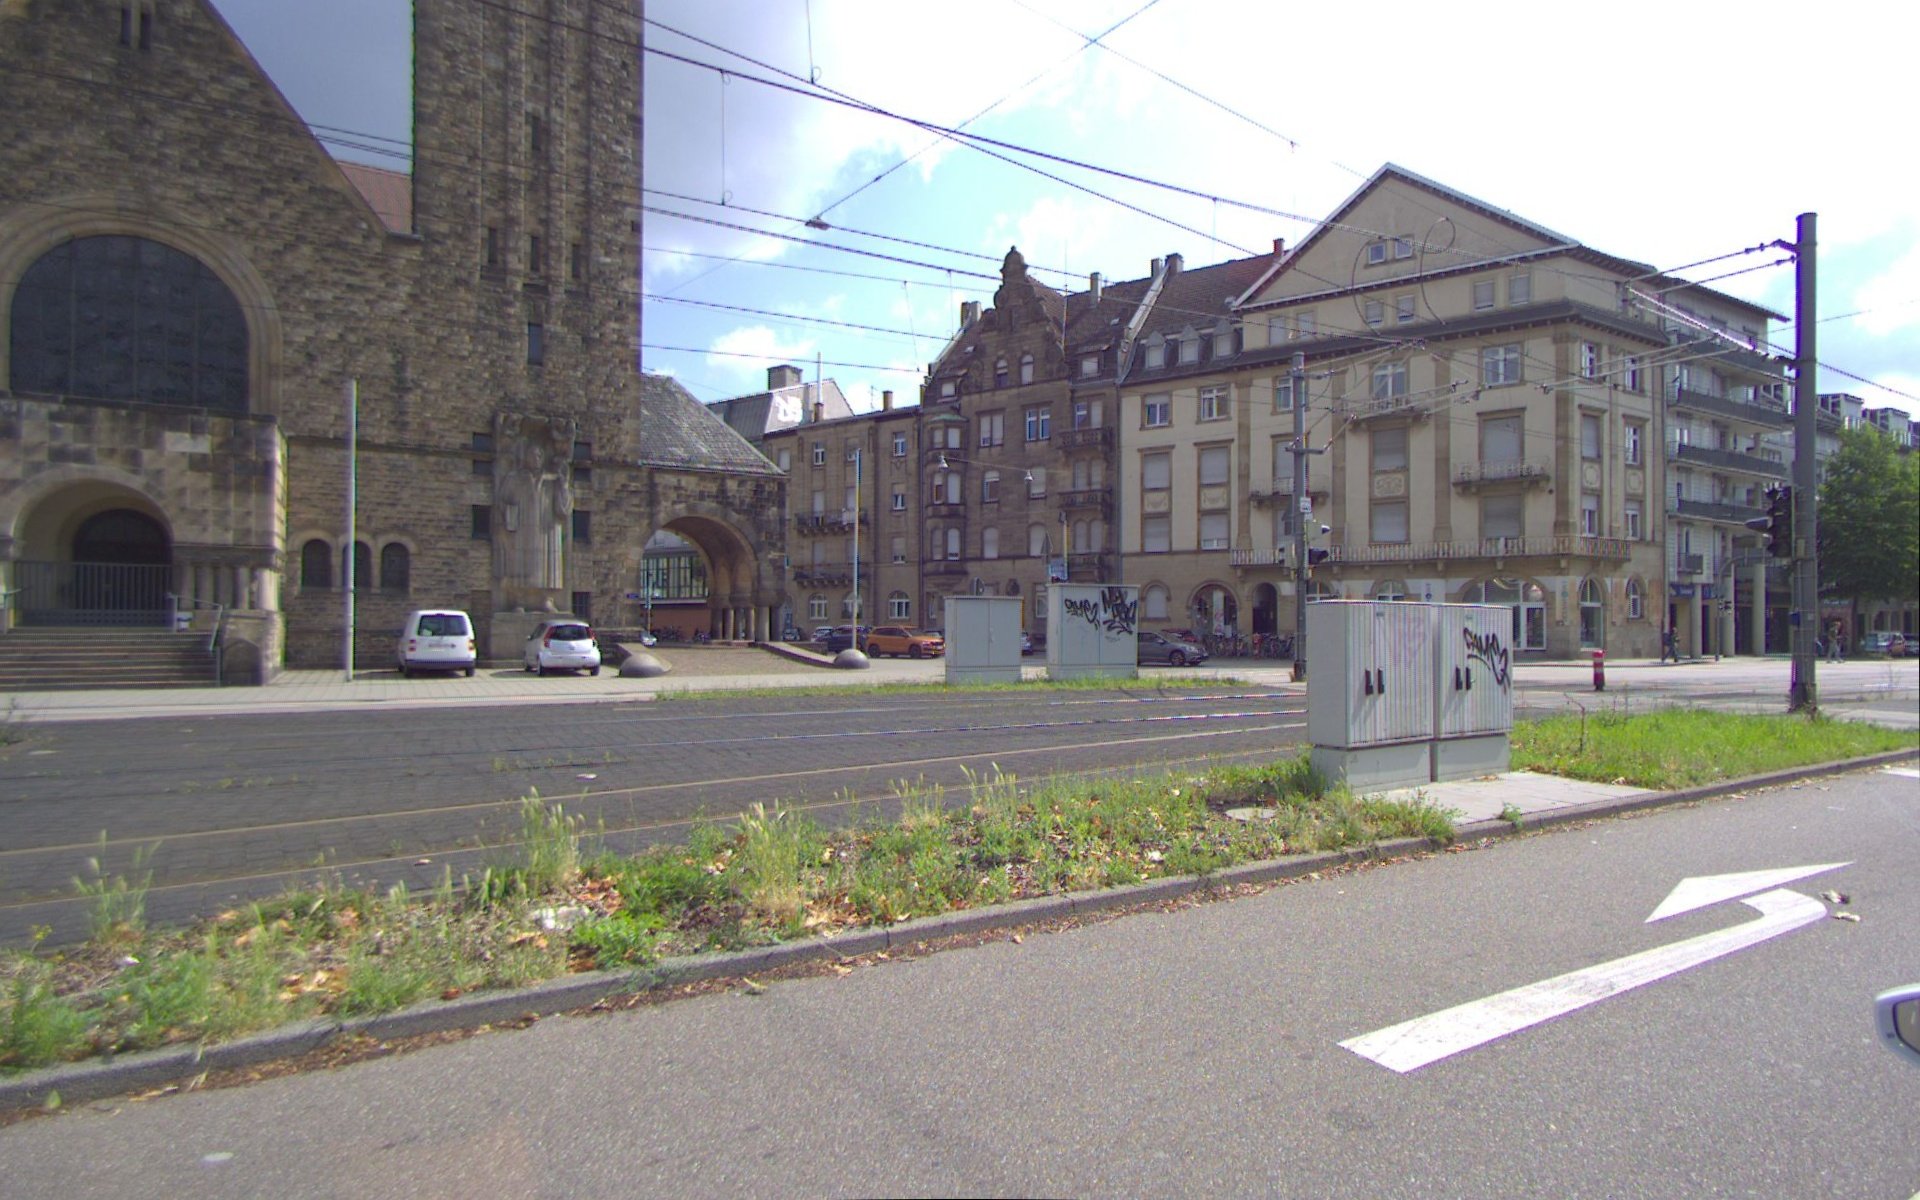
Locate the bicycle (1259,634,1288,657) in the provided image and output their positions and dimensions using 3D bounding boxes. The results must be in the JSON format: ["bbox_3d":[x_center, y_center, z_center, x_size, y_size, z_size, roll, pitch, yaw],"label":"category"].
[{"bbox_3d":[15.620,2.256,50.006,0.792,1.067,2.561,-1,-2,31],"label":"bicycle"}]

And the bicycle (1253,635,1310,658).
[{"bbox_3d":[15.380,2.232,48.115,2.522,1.067,0.680,-1,-2,33],"label":"bicycle"}]

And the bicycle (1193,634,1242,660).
[{"bbox_3d":[12.971,2.355,50.651,0.982,1.270,3.313,0,-2,-13],"label":"bicycle"}]

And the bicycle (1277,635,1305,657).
[{"bbox_3d":[16.336,2.262,49.554,0.792,1.067,2.561,-1,-2,31],"label":"bicycle"}]

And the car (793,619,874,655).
[{"bbox_3d":[-7.547,2.167,59.697,4.727,2.040,1.994,-1,-2,35],"label":"car"}]

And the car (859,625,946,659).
[{"bbox_3d":[-2.847,2.045,49.509,4.258,1.567,1.625,-1,-2,37],"label":"car"}]

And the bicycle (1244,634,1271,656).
[{"bbox_3d":[14.958,2.251,50.477,0.729,1.067,2.561,-1,-2,31],"label":"bicycle"}]

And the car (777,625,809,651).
[{"bbox_3d":[-11.313,2.554,68.224,1.653,1.697,4.000,0,-2,-2],"label":"car"}]

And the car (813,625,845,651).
[{"bbox_3d":[-8.579,2.472,65.928,1.686,1.706,4.000,0,-2,-2],"label":"car"}]

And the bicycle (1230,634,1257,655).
[{"bbox_3d":[14.478,2.253,51.274,0.729,1.067,2.360,-1,-2,31],"label":"bicycle"}]

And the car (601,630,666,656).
[{"bbox_3d":[-19.023,2.503,58.523,3.719,1.449,1.709,-1,-2,34],"label":"car"}]

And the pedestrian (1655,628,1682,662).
[{"bbox_3d":[33.329,2.109,47.255,0.845,1.617,0.694,0,-1,20],"label":"pedestrian"}]

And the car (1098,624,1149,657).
[{"bbox_3d":[8.713,2.151,53.945,1.768,1.661,3.998,0,-2,-5],"label":"car"}]

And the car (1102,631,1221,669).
[{"bbox_3d":[8.251,2.017,41.342,4.498,1.455,1.700,-1,-2,37],"label":"car"}]

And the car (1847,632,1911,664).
[{"bbox_3d":[59.638,3.069,65.171,3.953,2.040,1.984,1,-2,-30],"label":"car"}]

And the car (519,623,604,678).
[{"bbox_3d":[-11.824,1.459,29.692,1.833,1.522,3.249,1,-2,-31],"label":"car"}]

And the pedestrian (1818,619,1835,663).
[{"bbox_3d":[40.704,1.931,47.172,0.415,2.040,0.474,1,-1,-35],"label":"pedestrian"}]

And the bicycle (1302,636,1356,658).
[{"bbox_3d":[17.806,2.263,48.466,2.525,1.067,0.803,0,-1,-18],"label":"bicycle"}]

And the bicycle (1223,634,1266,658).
[{"bbox_3d":[13.685,2.208,48.289,1.939,1.129,0.487,-1,-1,24],"label":"bicycle"}]

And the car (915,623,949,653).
[{"bbox_3d":[-1.674,2.303,61.101,1.960,1.760,4.001,0,-2,1],"label":"car"}]

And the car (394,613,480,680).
[{"bbox_3d":[-14.988,1.277,28.712,1.874,1.771,3.849,1,-2,-32],"label":"car"}]

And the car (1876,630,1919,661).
[{"bbox_3d":[63.656,3.019,67.543,3.953,2.040,1.984,1,-2,-30],"label":"car"}]

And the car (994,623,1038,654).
[{"bbox_3d":[3.192,2.182,57.621,1.962,1.758,3.998,0,-2,-5],"label":"car"}]

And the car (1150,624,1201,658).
[{"bbox_3d":[11.075,2.091,51.886,1.960,1.696,4.002,0,-2,3],"label":"car"}]

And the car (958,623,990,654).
[{"bbox_3d":[0.821,2.267,59.235,1.850,1.782,4.001,0,-2,1],"label":"car"}]
